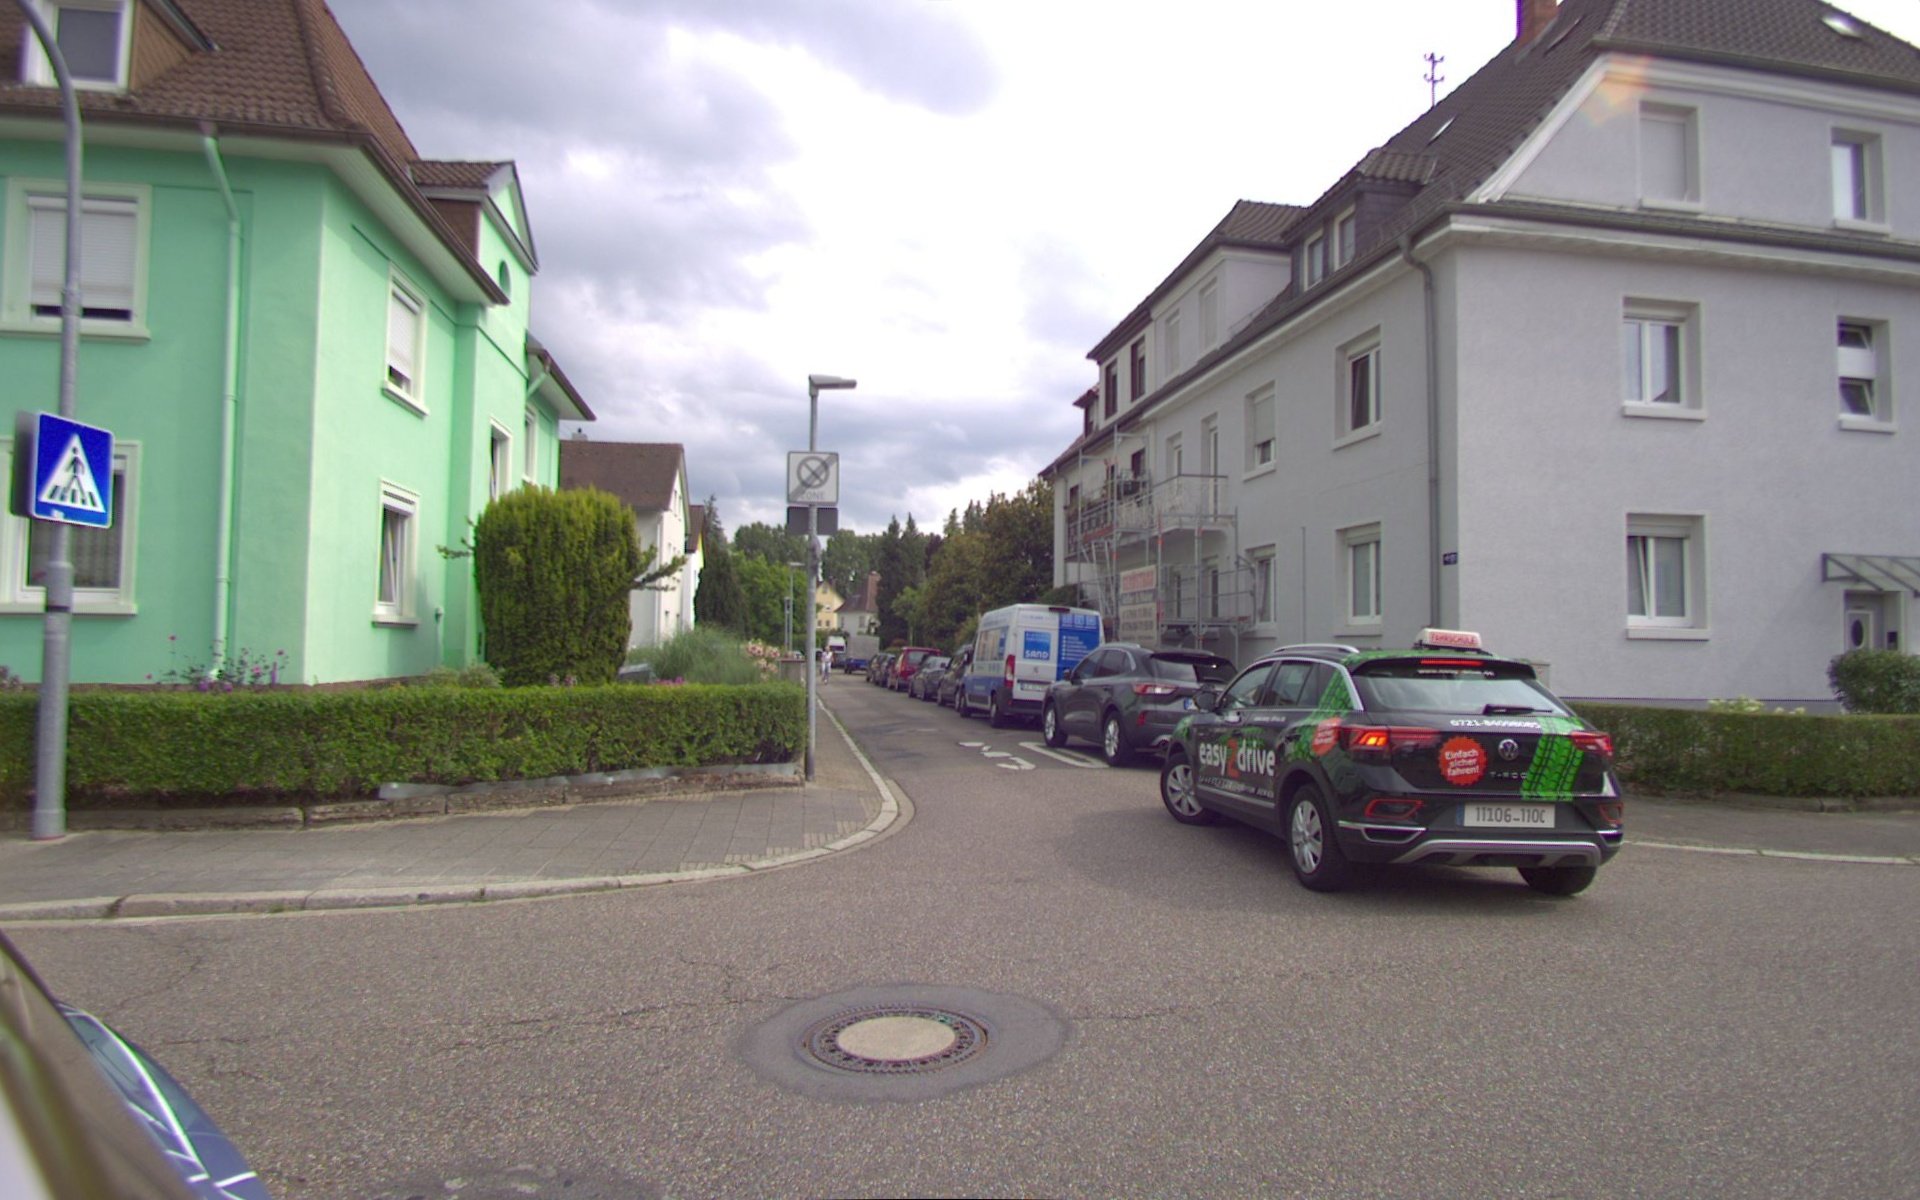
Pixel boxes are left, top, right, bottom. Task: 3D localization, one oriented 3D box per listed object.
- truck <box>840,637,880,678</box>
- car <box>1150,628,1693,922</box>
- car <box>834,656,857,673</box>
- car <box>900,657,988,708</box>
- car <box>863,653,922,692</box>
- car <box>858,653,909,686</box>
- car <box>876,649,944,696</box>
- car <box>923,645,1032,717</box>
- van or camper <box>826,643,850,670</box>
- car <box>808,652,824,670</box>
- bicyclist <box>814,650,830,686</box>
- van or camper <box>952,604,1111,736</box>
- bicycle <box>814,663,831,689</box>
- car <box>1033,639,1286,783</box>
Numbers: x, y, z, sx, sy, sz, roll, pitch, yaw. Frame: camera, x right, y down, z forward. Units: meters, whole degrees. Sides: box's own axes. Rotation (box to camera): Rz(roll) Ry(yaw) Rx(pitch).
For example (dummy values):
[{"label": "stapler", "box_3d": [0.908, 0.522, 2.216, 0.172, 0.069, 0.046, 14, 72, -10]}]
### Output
[{"label": "truck", "box_3d": [-6.730, 3.835, 67.644, 2.101, 2.678, 4.595, 1, -3, -12]}, {"label": "car", "box_3d": [2.848, 1.074, 7.408, 1.794, 1.531, 4.047, 2, -4, -5]}, {"label": "car", "box_3d": [-9.913, 5.522, 87.183, 1.798, 1.386, 4.007, 1, -3, -9]}, {"label": "car", "box_3d": [-0.585, 2.593, 32.471, 1.967, 1.466, 4.352, 1, -3, -13]}, {"label": "car", "box_3d": [-3.060, 3.195, 45.221, 1.967, 1.603, 4.352, 1, -3, -13]}, {"label": "car", "box_3d": [-3.904, 3.468, 51.016, 1.967, 1.603, 4.352, 1, -3, -13]}, {"label": "car", "box_3d": [-2.066, 2.836, 40.256, 1.967, 1.763, 4.352, 1, -3, -13]}, {"label": "car", "box_3d": [0.381, 2.130, 27.509, 1.967, 1.785, 4.352, 1, -3, -13]}, {"label": "van or camper", "box_3d": [-12.055, 5.520, 99.848, 2.114, 2.561, 5.025, 1, -3, -10]}, {"label": "car", "box_3d": [-17.152, 7.269, 120.702, 1.835, 2.029, 4.006, 1, -4, -7]}, {"label": "bicyclist", "box_3d": [-6.495, 3.211, 47.716, 0.687, 1.679, 0.977, 0, -3, -10]}, {"label": "van or camper", "box_3d": [1.362, 1.458, 21.701, 2.163, 2.478, 5.065, 1, -3, -11]}, {"label": "bicycle", "box_3d": [-6.491, 3.560, 47.702, 0.696, 1.161, 1.877, 0, -3, -10]}, {"label": "car", "box_3d": [2.638, 1.462, 14.592, 1.967, 1.740, 4.352, 1, -3, -13]}]
